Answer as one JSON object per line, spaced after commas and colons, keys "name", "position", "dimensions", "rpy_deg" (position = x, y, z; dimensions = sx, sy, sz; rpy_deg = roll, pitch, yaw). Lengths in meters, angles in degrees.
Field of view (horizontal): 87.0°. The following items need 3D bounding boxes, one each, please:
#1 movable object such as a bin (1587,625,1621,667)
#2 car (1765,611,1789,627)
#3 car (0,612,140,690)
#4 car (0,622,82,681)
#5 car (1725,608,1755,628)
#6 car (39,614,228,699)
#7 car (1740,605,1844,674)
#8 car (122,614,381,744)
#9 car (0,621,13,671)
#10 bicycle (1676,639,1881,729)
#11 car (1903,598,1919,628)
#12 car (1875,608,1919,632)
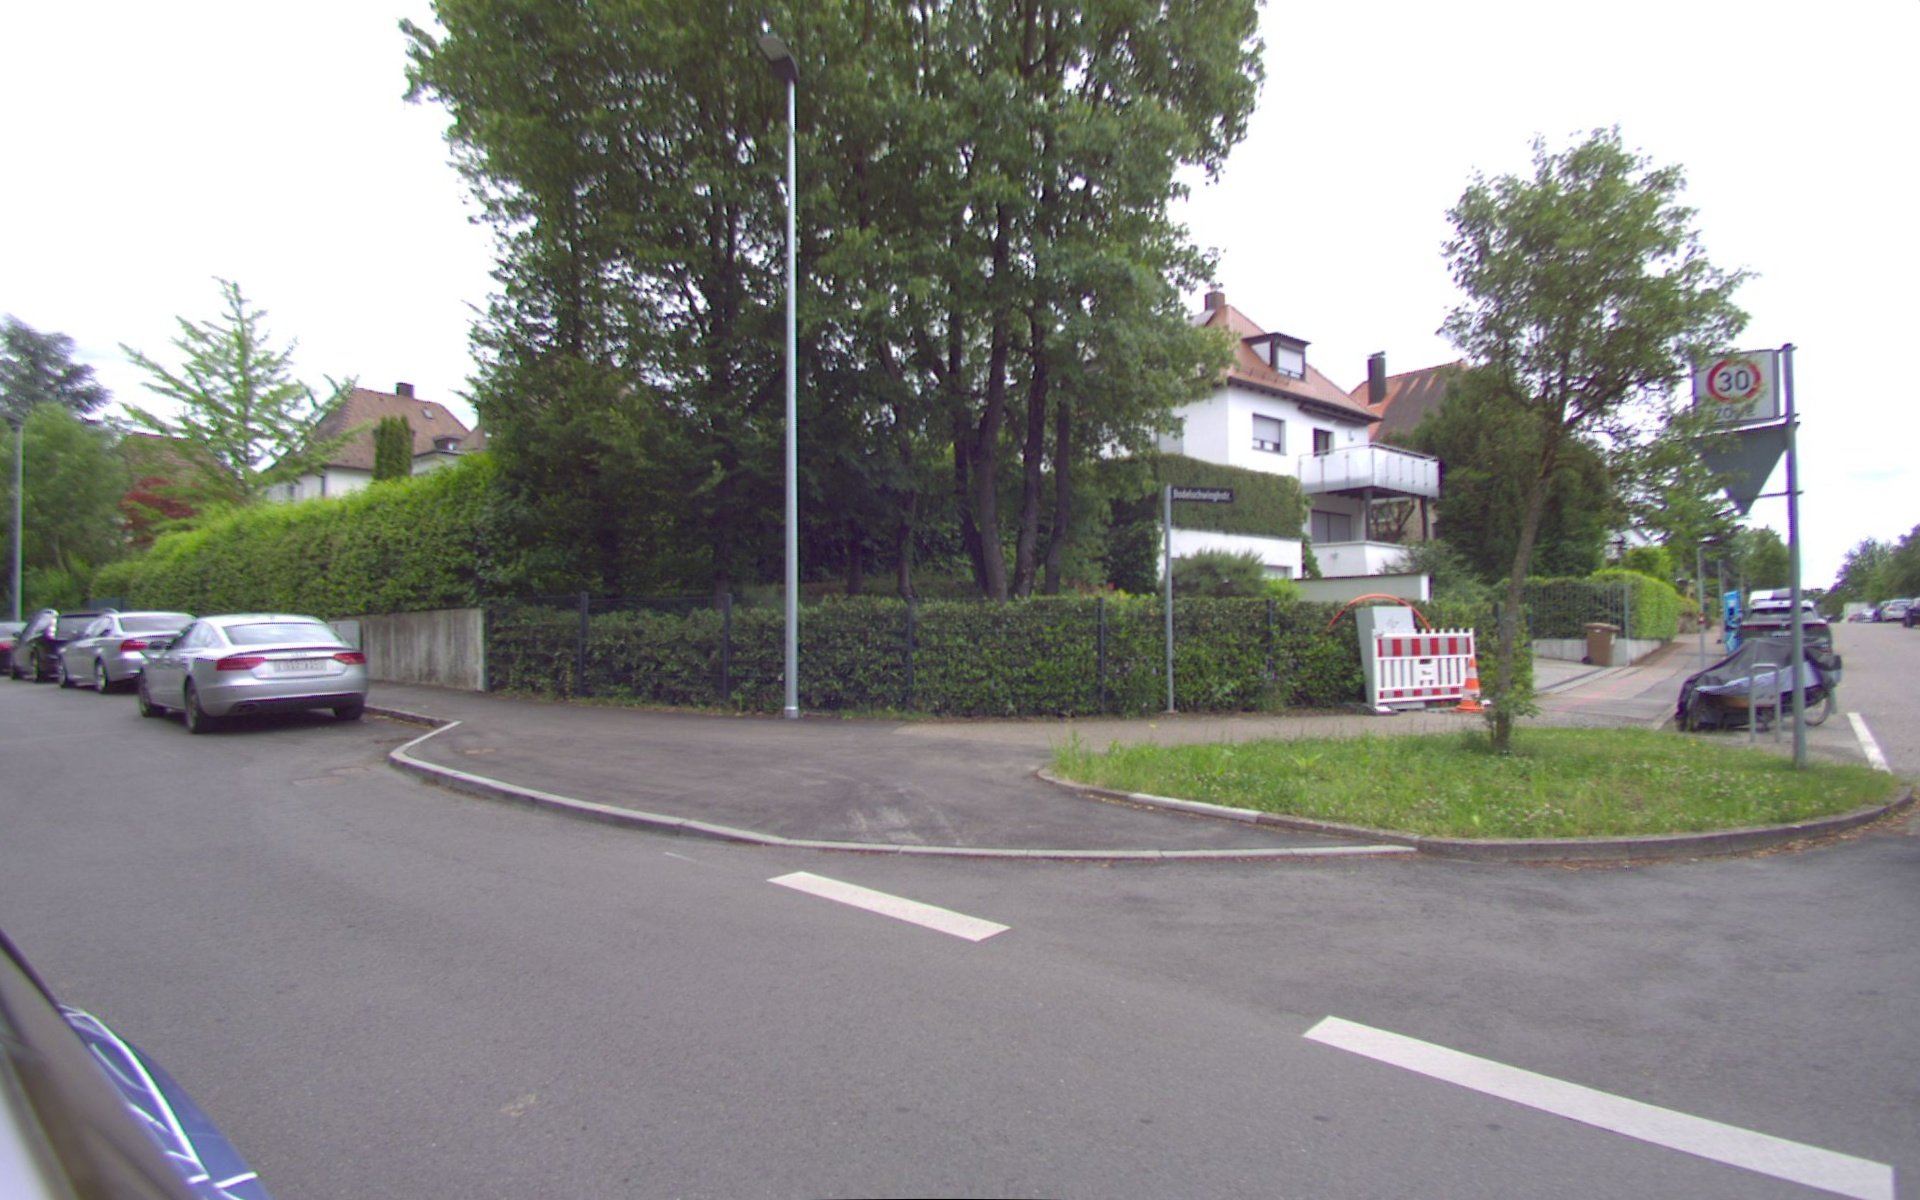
{"name": "movable object such as a bin", "position": [16.076, 1.140, 25.272], "dimensions": [0.576, 1.009, 0.577], "rpy_deg": [0, -1, -43]}
{"name": "car", "position": [77.590, 1.810, 96.108], "dimensions": [1.527, 1.422, 3.509], "rpy_deg": [-1, -1, 35]}
{"name": "car", "position": [-19.730, 1.067, 22.343], "dimensions": [4.469, 1.545, 1.640], "rpy_deg": [-1, 0, 39]}
{"name": "car", "position": [-24.225, 1.281, 25.862], "dimensions": [4.097, 1.351, 1.697], "rpy_deg": [-1, 0, 34]}
{"name": "car", "position": [57.123, 1.320, 74.165], "dimensions": [1.527, 1.422, 3.509], "rpy_deg": [-1, -1, 35]}
{"name": "car", "position": [-15.505, 0.986, 18.912], "dimensions": [4.333, 1.384, 1.759], "rpy_deg": [-1, 0, 37]}
{"name": "car", "position": [20.463, 0.904, 24.849], "dimensions": [1.763, 1.540, 3.913], "rpy_deg": [-1, -1, 42]}
{"name": "car", "position": [-9.421, 0.914, 13.304], "dimensions": [4.443, 1.384, 1.812], "rpy_deg": [-1, 0, 42]}
{"name": "car", "position": [-29.259, 1.337, 29.408], "dimensions": [4.654, 1.395, 1.703], "rpy_deg": [-1, -1, 36]}
{"name": "bicycle", "position": [10.289, 1.027, 12.725], "dimensions": [2.541, 1.009, 0.654], "rpy_deg": [0, -1, -16]}
{"name": "car", "position": [46.961, 0.596, 48.903], "dimensions": [1.527, 1.422, 3.509], "rpy_deg": [-1, -1, 35]}
{"name": "car", "position": [57.199, 1.209, 61.794], "dimensions": [1.527, 1.422, 3.509], "rpy_deg": [-1, -1, 35]}
